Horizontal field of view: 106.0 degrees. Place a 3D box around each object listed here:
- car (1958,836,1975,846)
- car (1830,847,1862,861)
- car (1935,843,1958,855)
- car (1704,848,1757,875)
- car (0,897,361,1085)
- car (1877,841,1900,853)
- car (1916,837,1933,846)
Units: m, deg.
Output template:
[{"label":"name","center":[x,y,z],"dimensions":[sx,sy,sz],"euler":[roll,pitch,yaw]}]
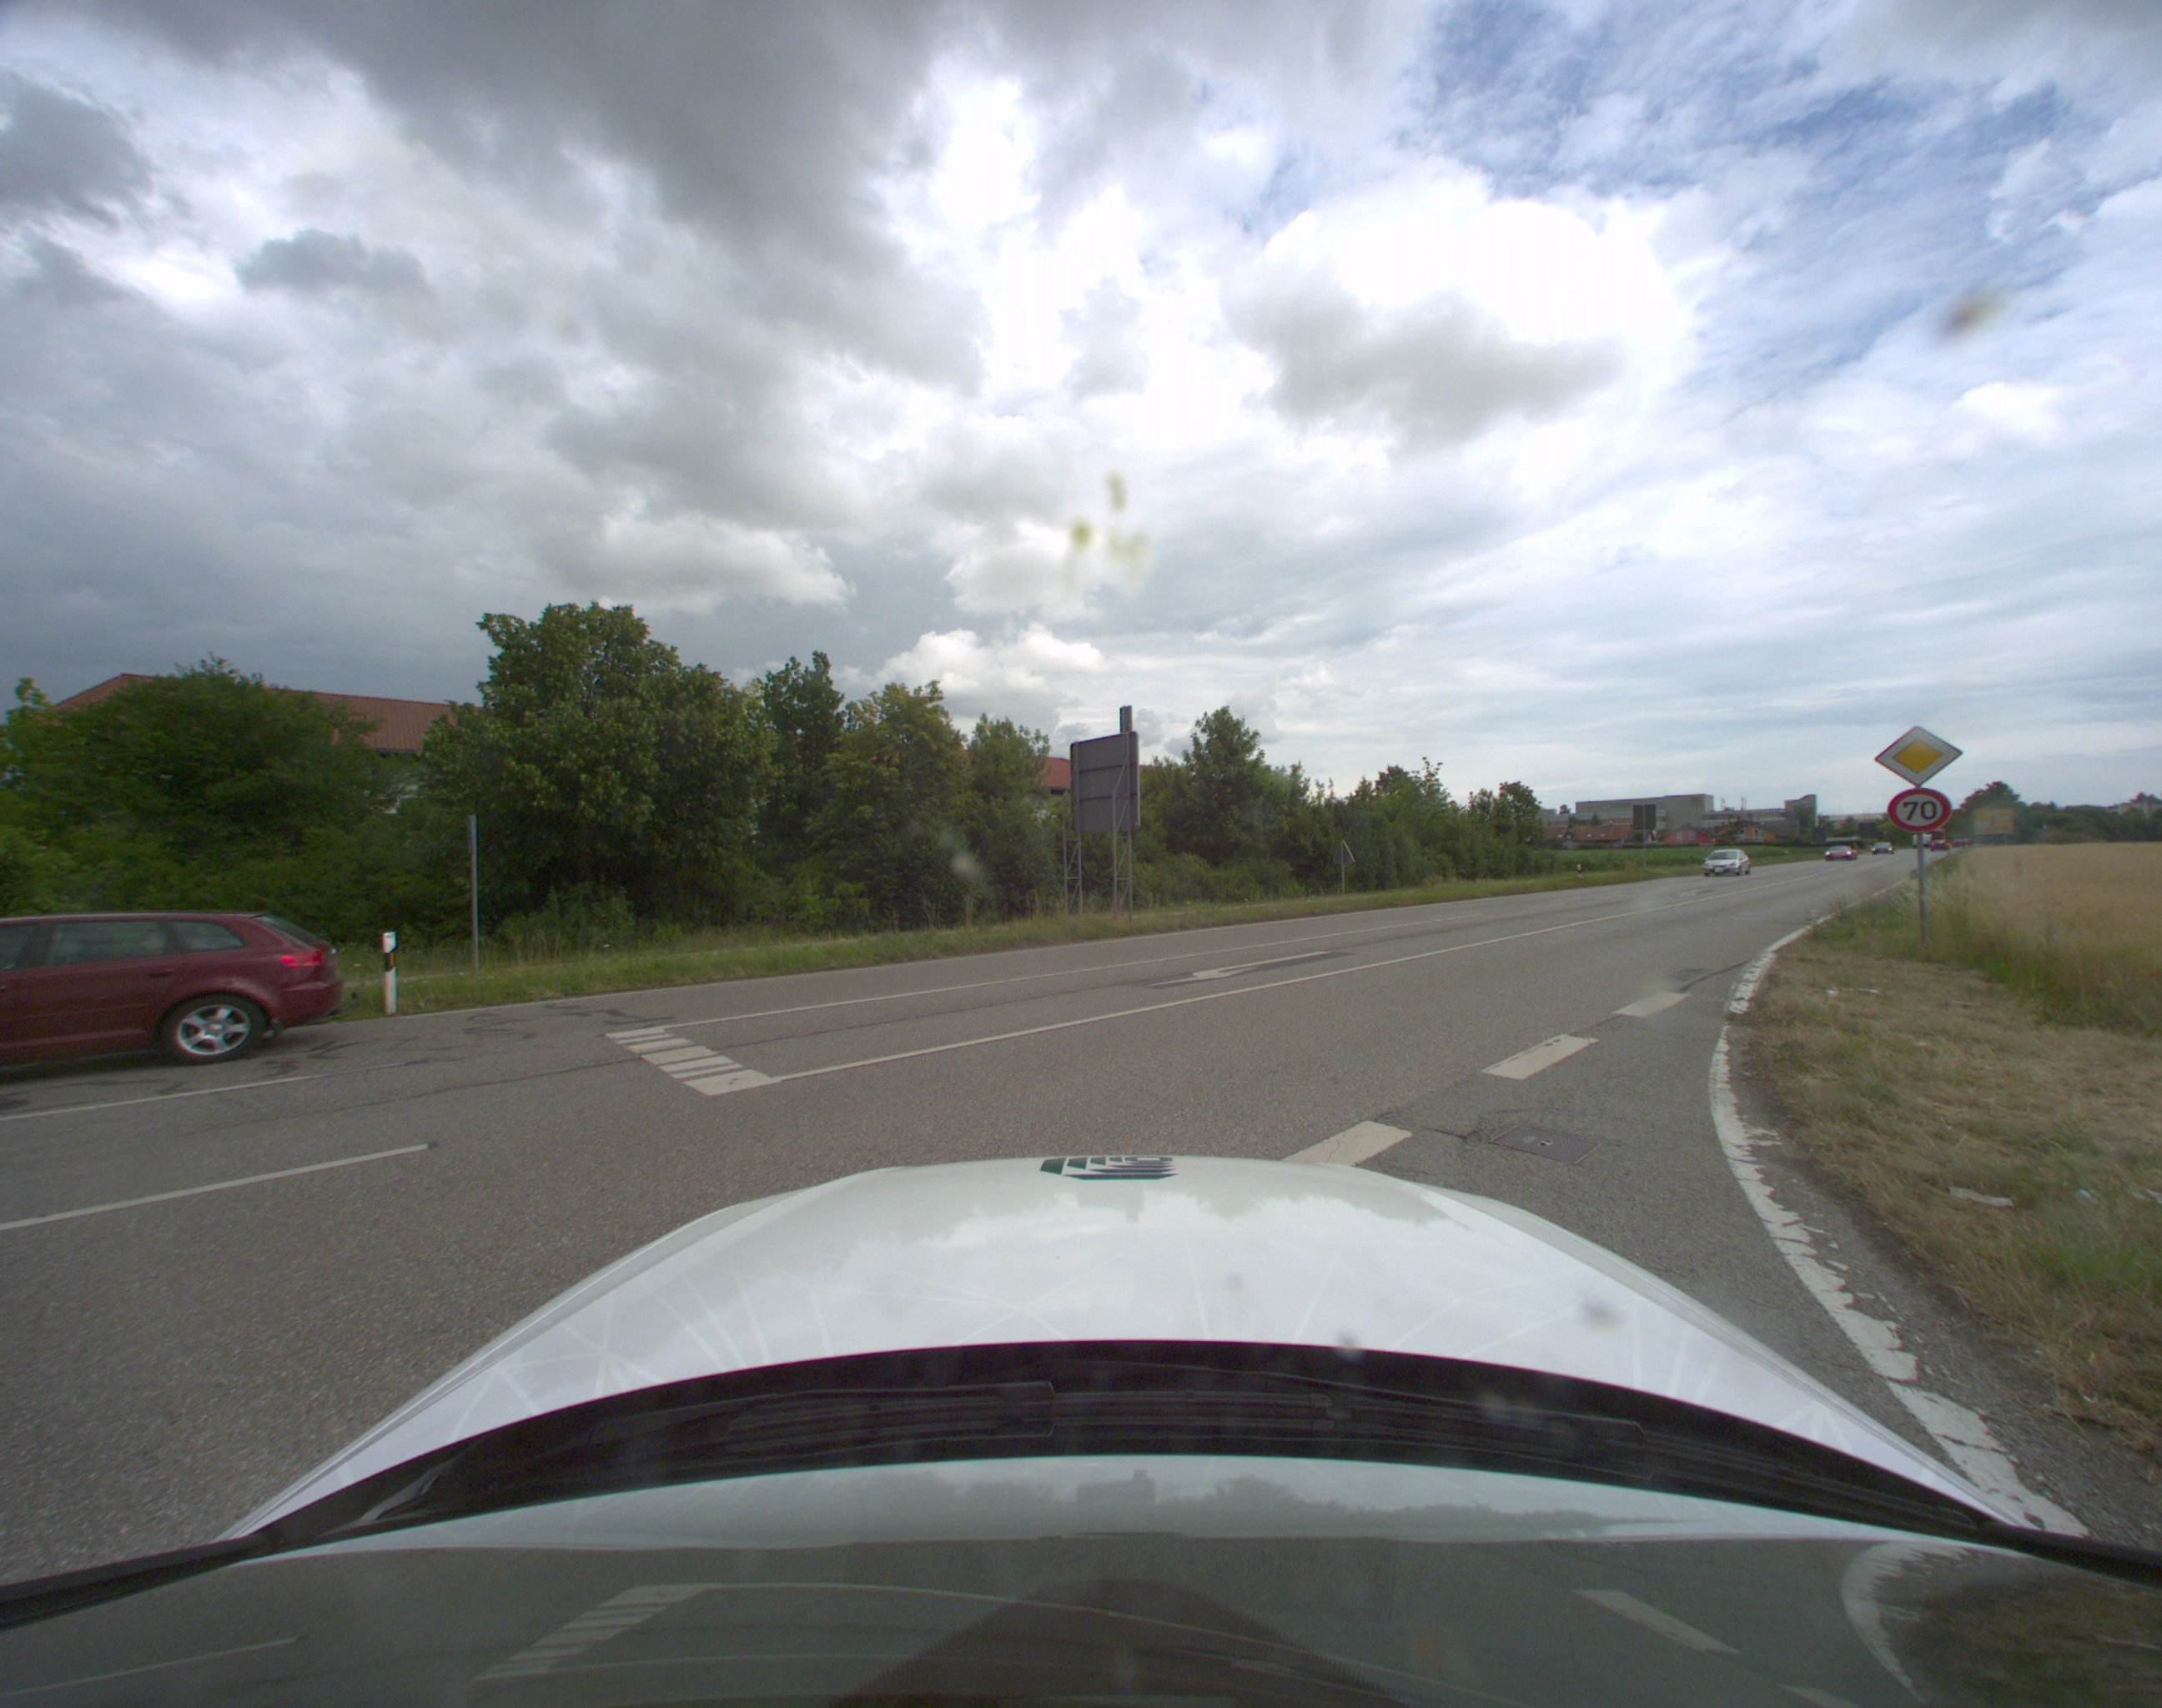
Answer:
[{"label":"car","center":[164.764,-2.372,151.528],"dimensions":[4.020,1.728,1.843],"euler":[-1,0,-39]},{"label":"car","center":[69.734,-0.018,74.234],"dimensions":[4.235,1.241,1.755],"euler":[-1,-1,-43]},{"label":"car","center":[120.178,-0.694,113.068],"dimensions":[4.020,1.566,1.843],"euler":[-1,0,-39]},{"label":"car","center":[37.782,0.418,47.341],"dimensions":[3.956,1.432,1.714],"euler":[-1,-2,-42]},{"label":"car","center":[-9.204,1.195,7.270],"dimensions":[4.111,1.402,1.658],"euler":[-1,-1,-41]},{"label":"car","center":[97.933,-0.846,98.770],"dimensions":[4.326,1.429,1.654],"euler":[-1,-2,-42]},{"label":"car","center":[154.063,-2.278,148.774],"dimensions":[4.700,1.699,1.976],"euler":[-1,-1,-41]}]
